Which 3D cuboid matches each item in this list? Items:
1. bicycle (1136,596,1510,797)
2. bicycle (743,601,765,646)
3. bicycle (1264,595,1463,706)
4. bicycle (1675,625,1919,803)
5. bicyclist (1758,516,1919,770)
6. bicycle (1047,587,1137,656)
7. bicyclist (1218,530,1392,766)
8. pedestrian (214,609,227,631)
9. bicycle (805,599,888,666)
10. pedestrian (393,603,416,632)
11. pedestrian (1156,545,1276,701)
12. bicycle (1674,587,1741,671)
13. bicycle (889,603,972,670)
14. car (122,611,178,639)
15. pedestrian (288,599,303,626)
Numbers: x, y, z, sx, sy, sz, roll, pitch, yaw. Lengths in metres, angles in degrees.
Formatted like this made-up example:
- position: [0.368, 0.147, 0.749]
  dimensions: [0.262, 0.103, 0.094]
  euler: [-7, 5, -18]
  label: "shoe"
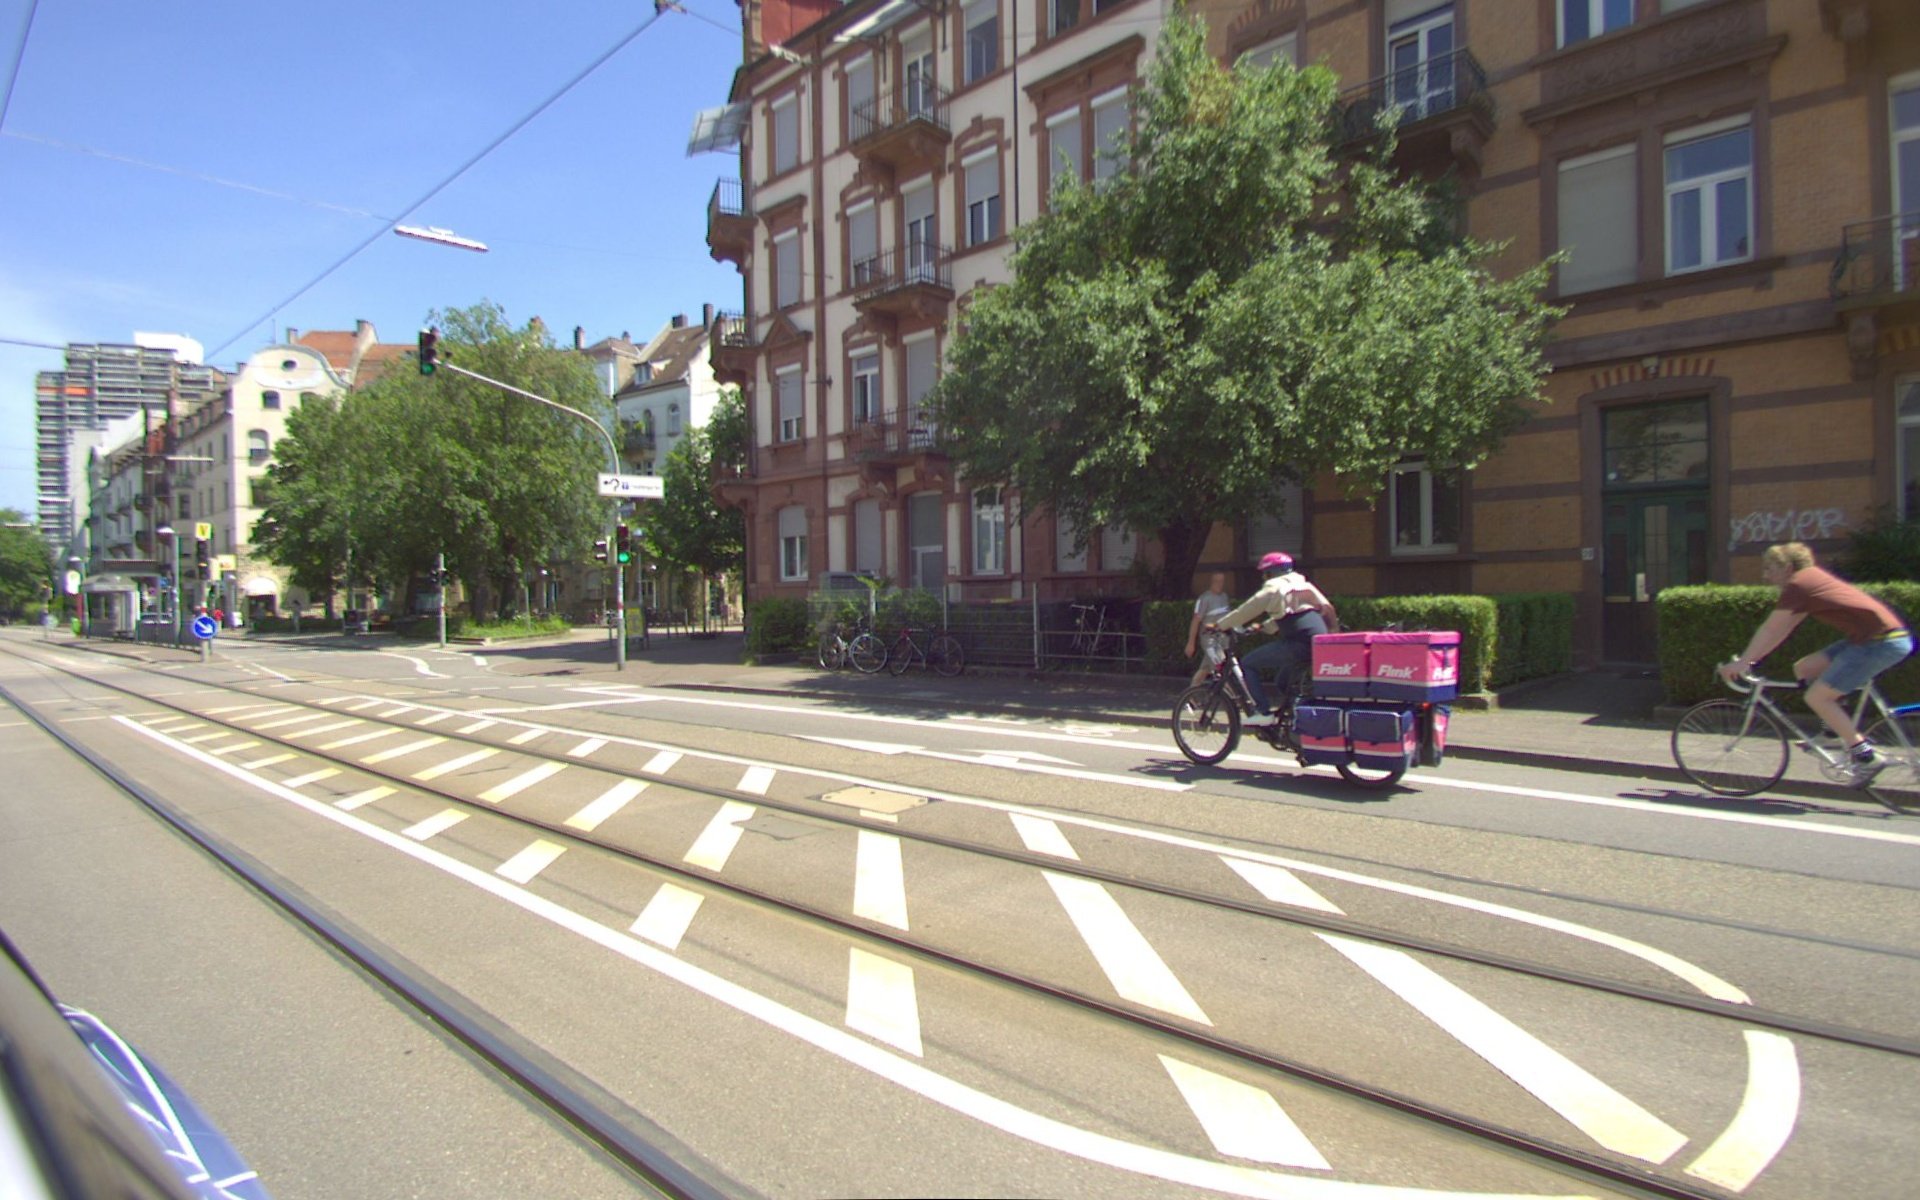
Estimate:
- position: [2.635, 0.635, 7.657]
  dimensions: [2.551, 1.281, 0.798]
  euler: [-1, 0, 44]
  label: "bicycle"
- position: [-5.343, 0.599, 26.261]
  dimensions: [0.459, 1.116, 1.927]
  euler: [-1, 0, -9]
  label: "bicycle"
- position: [4.432, 0.524, 11.225]
  dimensions: [0.631, 1.101, 1.933]
  euler: [-4, 2, -44]
  label: "bicycle"
- position: [5.742, 0.695, 6.479]
  dimensions: [1.829, 1.046, 0.561]
  euler: [-1, 0, 44]
  label: "bicycle"
- position: [5.726, 0.260, 6.487]
  dimensions: [0.892, 1.527, 0.556]
  euler: [-1, 0, 44]
  label: "bicyclist"
- position: [2.076, 0.315, 15.721]
  dimensions: [0.495, 1.004, 1.628]
  euler: [-1, 0, 44]
  label: "bicycle"
- position: [2.615, 0.336, 7.681]
  dimensions: [0.981, 1.642, 0.798]
  euler: [-1, 0, 44]
  label: "bicyclist"
- position: [-48.759, 1.321, 66.748]
  dimensions: [0.519, 1.452, 0.531]
  euler: [-1, 0, 33]
  label: "pedestrian"
- position: [-2.097, 0.577, 18.535]
  dimensions: [0.566, 1.177, 1.717]
  euler: [-1, 0, -44]
  label: "bicycle"
- position: [-26.246, 0.815, 47.833]
  dimensions: [0.811, 1.327, 0.653]
  euler: [-1, 0, -41]
  label: "pedestrian"
- position: [2.978, 0.253, 11.781]
  dimensions: [0.861, 1.713, 1.015]
  euler: [-1, 0, -41]
  label: "pedestrian"
- position: [9.400, 0.341, 12.709]
  dimensions: [1.565, 0.991, 0.440]
  euler: [-1, 0, -45]
  label: "bicycle"
- position: [-0.517, 0.597, 17.069]
  dimensions: [0.454, 1.064, 1.566]
  euler: [-1, 0, -44]
  label: "bicycle"
- position: [-41.153, 1.273, 51.401]
  dimensions: [3.848, 1.320, 1.674]
  euler: [-1, 0, 43]
  label: "car"
- position: [-36.068, 0.695, 54.935]
  dimensions: [0.519, 1.452, 0.531]
  euler: [-1, 0, 33]
  label: "pedestrian"
